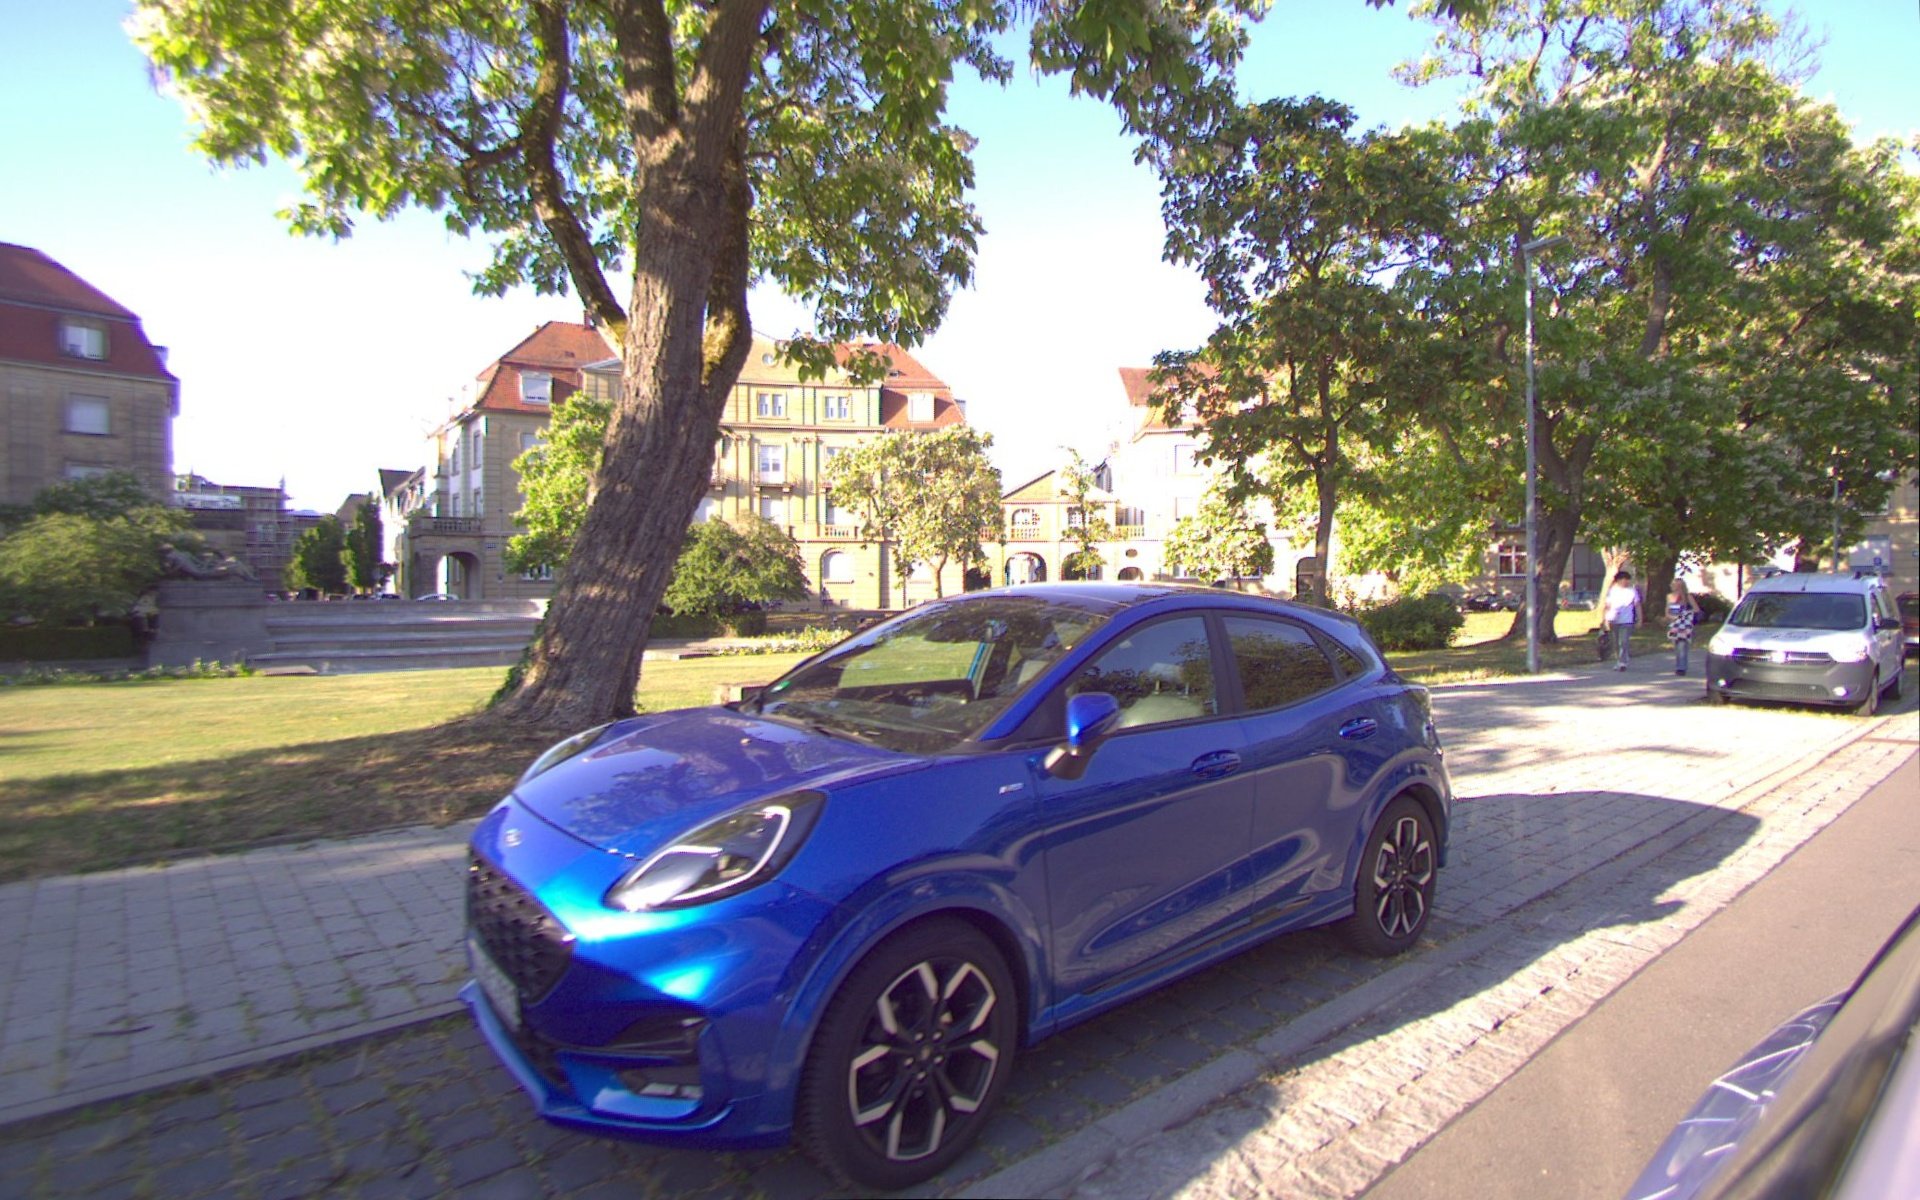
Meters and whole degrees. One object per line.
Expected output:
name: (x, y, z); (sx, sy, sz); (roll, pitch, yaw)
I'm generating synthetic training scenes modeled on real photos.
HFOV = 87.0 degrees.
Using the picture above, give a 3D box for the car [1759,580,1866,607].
car: (47.433, -0.400, 56.337); (1.905, 1.436, 4.441); (-2, 2, -45)

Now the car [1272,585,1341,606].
car: (24.440, -0.333, 71.540); (4.589, 1.435, 1.809); (0, 1, 19)

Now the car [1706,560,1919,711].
car: (11.853, 0.356, 13.897); (4.436, 1.761, 1.681); (-2, 1, -41)

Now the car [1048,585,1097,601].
car: (10.586, -0.704, 95.482); (4.284, 1.435, 1.822); (-1, 1, -5)

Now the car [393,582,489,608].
car: (-30.503, -0.311, 59.486); (4.854, 1.435, 1.820); (-1, 1, -33)

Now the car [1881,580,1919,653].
car: (22.247, 0.311, 22.812); (4.726, 1.504, 1.681); (-2, 1, -41)

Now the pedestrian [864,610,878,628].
pedestrian: (-4.653, 0.977, 52.825); (0.664, 0.892, 0.578); (-1, 0, -3)

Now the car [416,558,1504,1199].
car: (0.365, 0.646, 4.023); (4.200, 1.570, 1.735); (-2, 1, -40)

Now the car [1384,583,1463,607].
car: (28.789, -0.323, 62.892); (4.395, 1.435, 1.552); (0, 1, 27)

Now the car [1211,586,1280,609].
car: (18.938, -0.180, 67.182); (4.317, 1.435, 1.808); (0, 1, 21)

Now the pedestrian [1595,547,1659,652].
pedestrian: (11.554, -0.009, 17.540); (0.718, 1.758, 0.726); (0, -1, -40)

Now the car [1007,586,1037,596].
car: (9.070, -1.343, 149.210); (4.288, 1.435, 1.820); (-1, 1, 0)

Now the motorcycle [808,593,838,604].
motorcycle: (-8.930, -0.123, 65.832); (1.825, 0.679, 0.682); (-2, 1, -38)

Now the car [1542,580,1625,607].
car: (39.115, -0.432, 63.565); (4.420, 1.620, 1.782); (0, 1, 33)

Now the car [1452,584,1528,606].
car: (34.740, -0.327, 66.415); (4.412, 1.341, 1.491); (0, 1, 28)

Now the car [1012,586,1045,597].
car: (9.364, -1.117, 138.608); (4.288, 1.435, 1.820); (-1, 1, 0)

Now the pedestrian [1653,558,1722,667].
pedestrian: (12.112, 0.204, 16.857); (0.718, 1.758, 0.754); (0, -1, -40)

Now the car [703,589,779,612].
car: (-14.561, 0.032, 67.222); (4.846, 1.435, 1.823); (-1, 1, -16)

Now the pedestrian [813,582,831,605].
pedestrian: (-8.982, -0.429, 65.790); (0.933, 1.493, 0.682); (-1, 1, -38)

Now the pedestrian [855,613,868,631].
pedestrian: (-5.044, 1.103, 51.837); (0.664, 0.892, 0.578); (-1, 0, -3)

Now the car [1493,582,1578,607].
car: (34.044, -0.315, 59.973); (4.330, 1.435, 1.826); (0, 1, 30)

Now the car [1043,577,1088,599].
car: (10.572, -1.189, 101.766); (4.286, 2.134, 1.821); (-1, 1, -3)
